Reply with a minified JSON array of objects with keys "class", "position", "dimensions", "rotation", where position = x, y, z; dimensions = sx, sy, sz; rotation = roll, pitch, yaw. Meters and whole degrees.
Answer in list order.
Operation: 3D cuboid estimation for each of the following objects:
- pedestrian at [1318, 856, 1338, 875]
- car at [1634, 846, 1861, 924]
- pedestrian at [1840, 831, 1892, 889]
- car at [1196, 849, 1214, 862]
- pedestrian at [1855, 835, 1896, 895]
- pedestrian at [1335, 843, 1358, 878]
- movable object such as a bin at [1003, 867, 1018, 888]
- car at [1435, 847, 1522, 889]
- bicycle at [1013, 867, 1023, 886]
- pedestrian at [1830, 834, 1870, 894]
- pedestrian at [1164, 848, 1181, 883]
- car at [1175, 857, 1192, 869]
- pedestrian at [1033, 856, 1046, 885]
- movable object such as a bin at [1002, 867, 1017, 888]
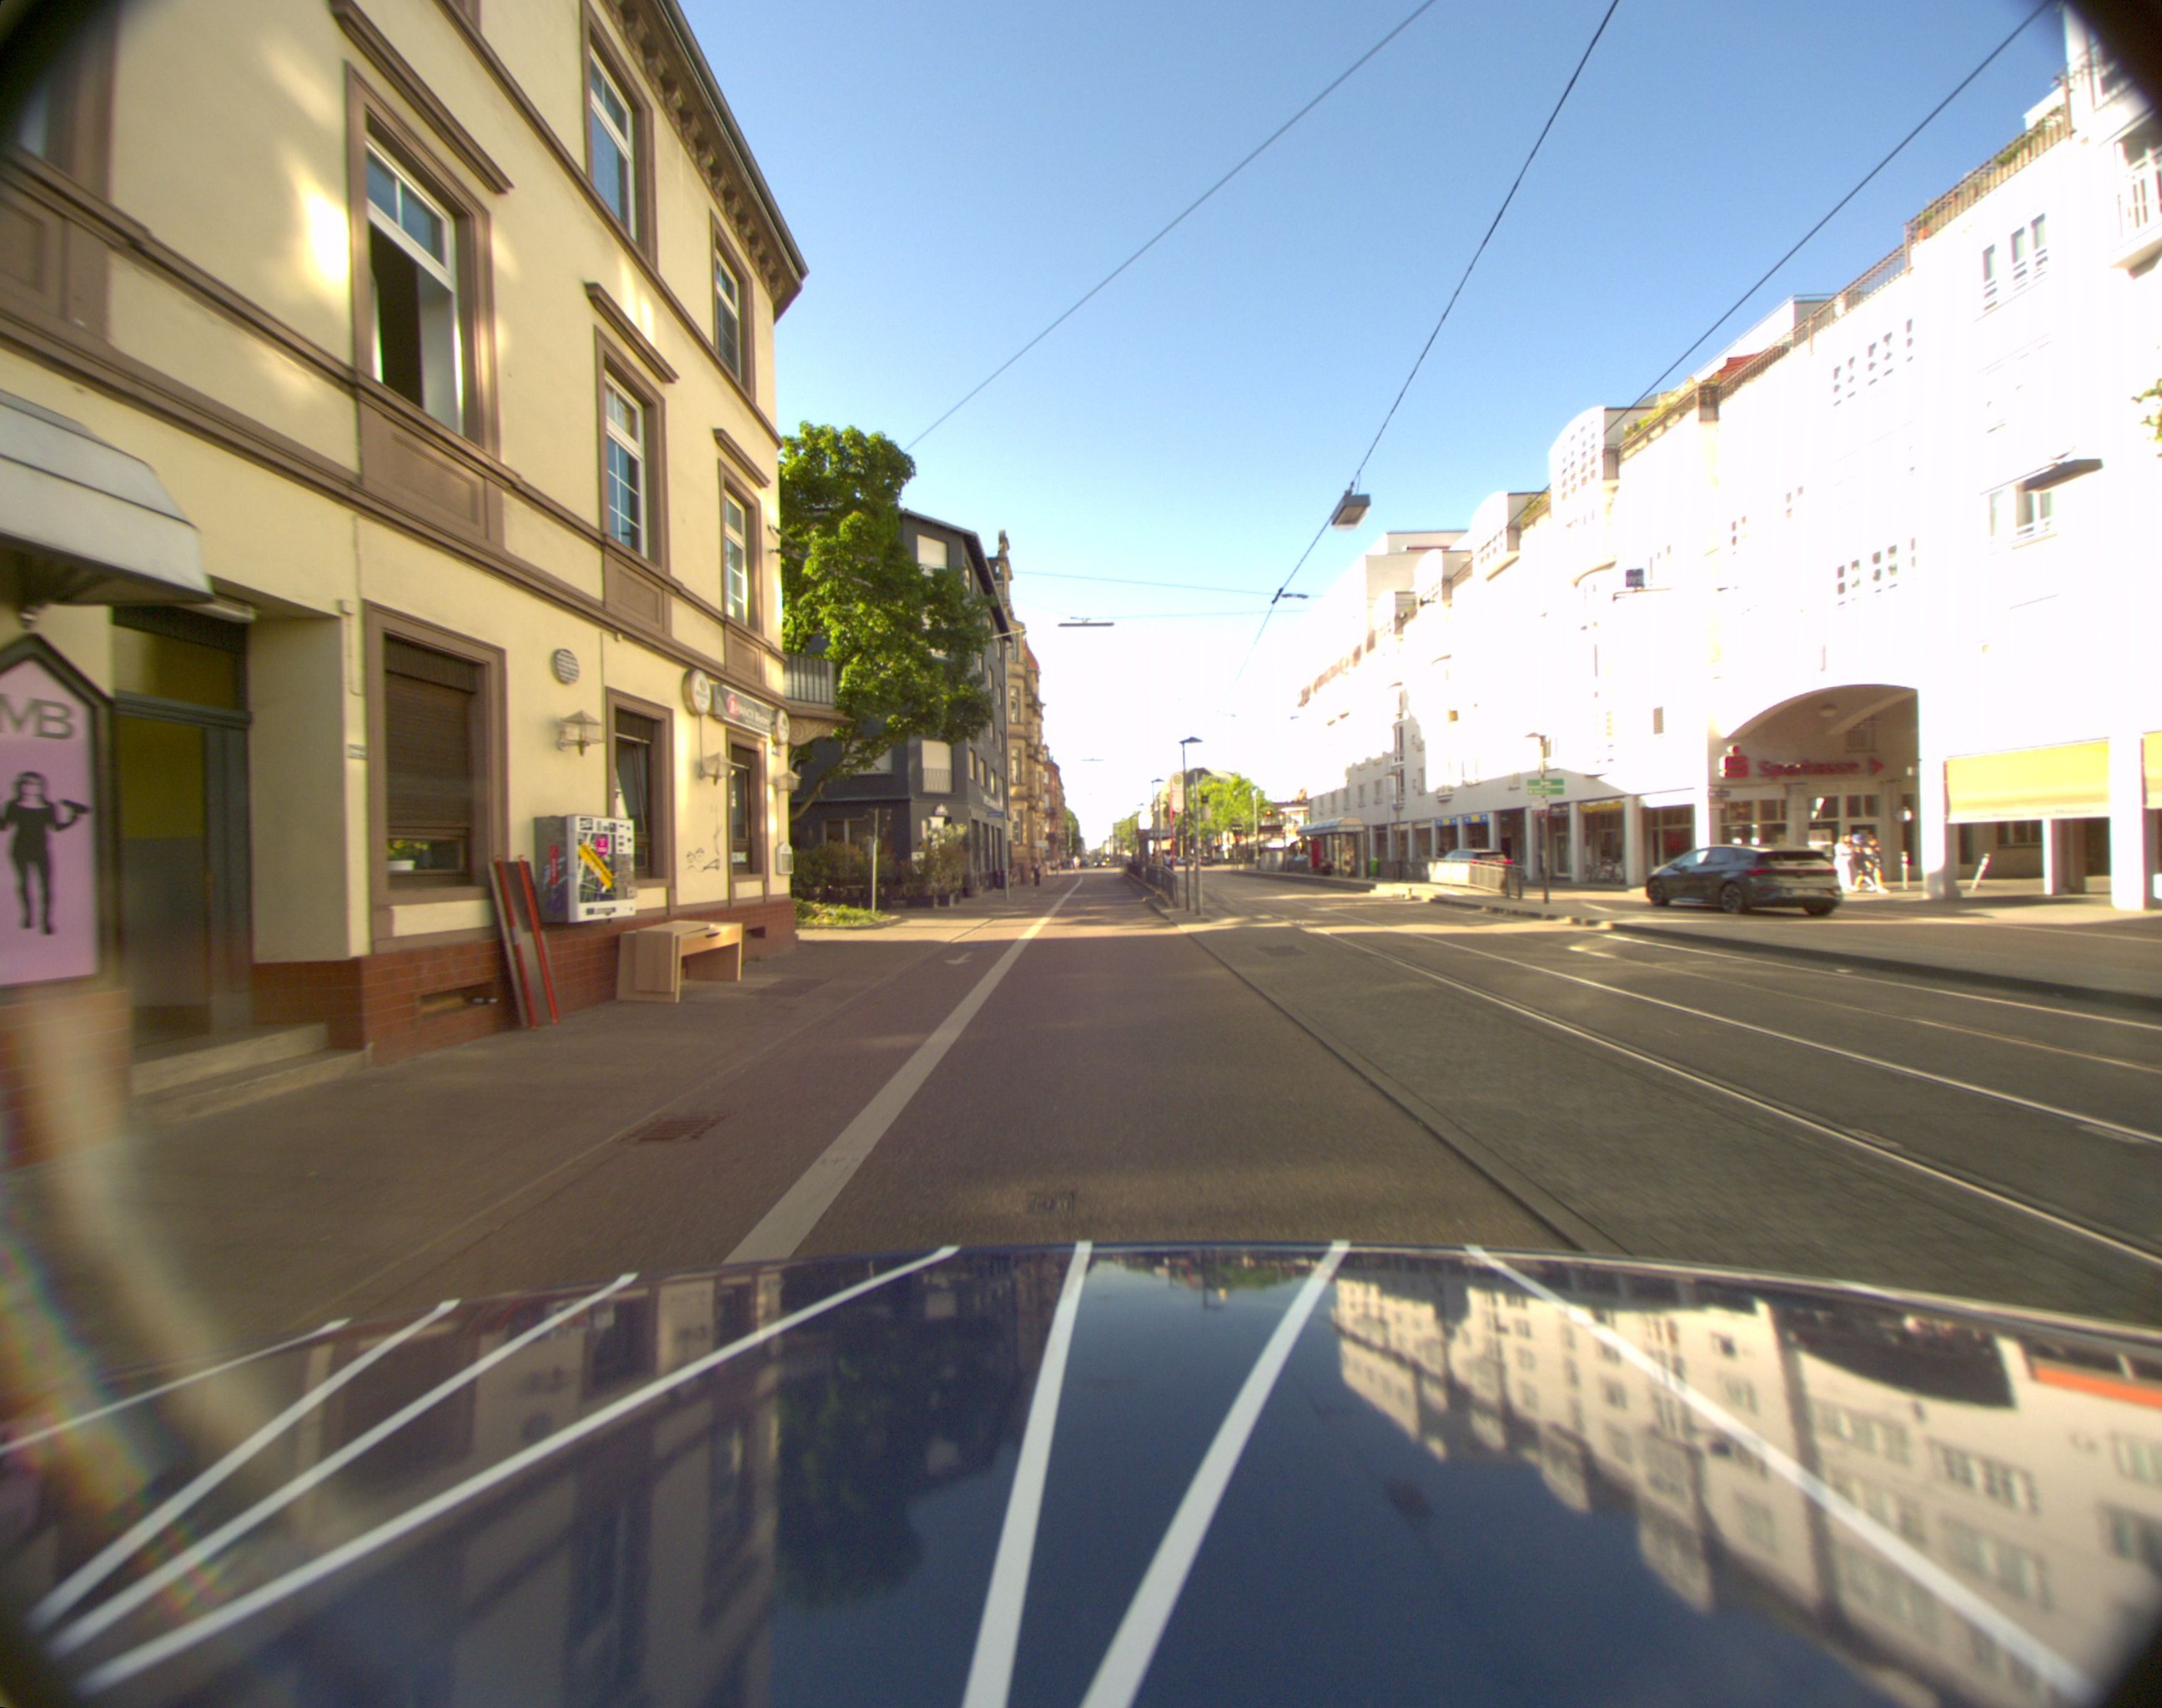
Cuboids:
[{"class":"pedestrian","position":[13.216,0.622,40.649],"dimensions":[0.794,0.982,0.747],"rotation":[-2,2,1]},{"class":"car","position":[14.948,0.610,17.420],"dimensions":[1.783,1.531,4.270],"rotation":[1,0,6]},{"class":"pedestrian","position":[22.749,0.171,22.039],"dimensions":[0.747,1.635,0.731],"rotation":[-1,1,1]},{"class":"car","position":[17.187,0.221,105.481],"dimensions":[1.998,1.608,4.001],"rotation":[-2,0,1]},{"class":"pedestrian","position":[21.960,0.298,21.013],"dimensions":[0.563,1.635,0.523],"rotation":[-1,0,1]},{"class":"pedestrian","position":[12.755,0.313,36.493],"dimensions":[0.794,1.635,0.747],"rotation":[-2,0,1]},{"class":"movable object such as a bin","position":[-3.820,1.279,41.317],"dimensions":[0.717,1.062,0.637],"rotation":[-2,0,0]},{"class":"car","position":[17.076,0.560,32.899],"dimensions":[1.783,1.658,4.774],"rotation":[-1,0,7]},{"class":"bicycle","position":[-3.694,1.298,44.326],"dimensions":[0.377,1.052,1.513],"rotation":[-2,0,1]},{"class":"pedestrian","position":[21.437,0.278,21.184],"dimensions":[0.563,1.635,0.523],"rotation":[-1,1,1]},{"class":"pedestrian","position":[4.306,0.530,35.611],"dimensions":[0.716,1.635,0.400],"rotation":[-2,1,3]},{"class":"car","position":[16.747,1.447,124.067],"dimensions":[1.999,1.892,3.999],"rotation":[-2,0,-2]},{"class":"pedestrian","position":[-2.496,0.996,46.006],"dimensions":[0.695,1.680,0.688],"rotation":[-2,0,1]},{"class":"movable object such as a bin","position":[-3.811,1.253,40.467],"dimensions":[0.717,1.062,0.637],"rotation":[-2,0,0]}]
